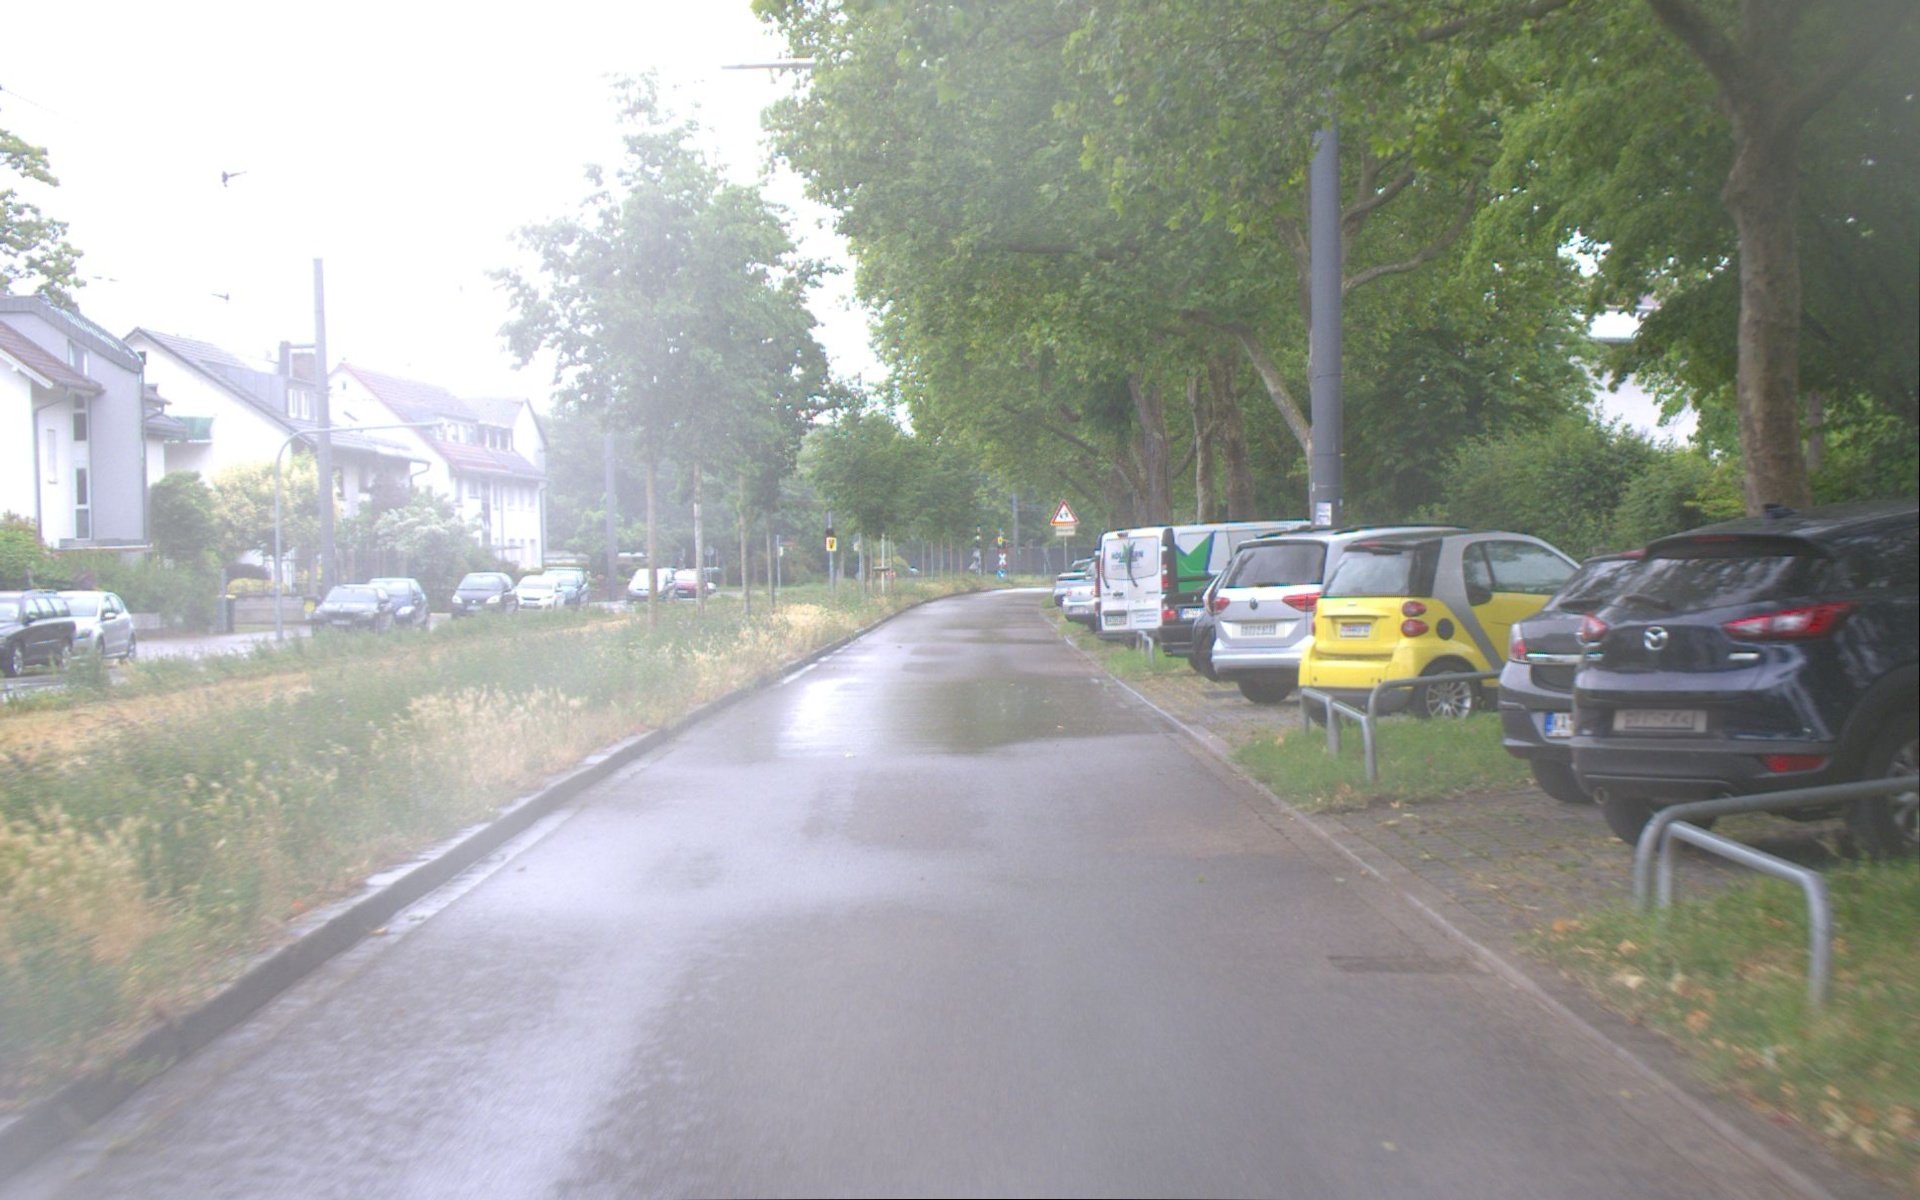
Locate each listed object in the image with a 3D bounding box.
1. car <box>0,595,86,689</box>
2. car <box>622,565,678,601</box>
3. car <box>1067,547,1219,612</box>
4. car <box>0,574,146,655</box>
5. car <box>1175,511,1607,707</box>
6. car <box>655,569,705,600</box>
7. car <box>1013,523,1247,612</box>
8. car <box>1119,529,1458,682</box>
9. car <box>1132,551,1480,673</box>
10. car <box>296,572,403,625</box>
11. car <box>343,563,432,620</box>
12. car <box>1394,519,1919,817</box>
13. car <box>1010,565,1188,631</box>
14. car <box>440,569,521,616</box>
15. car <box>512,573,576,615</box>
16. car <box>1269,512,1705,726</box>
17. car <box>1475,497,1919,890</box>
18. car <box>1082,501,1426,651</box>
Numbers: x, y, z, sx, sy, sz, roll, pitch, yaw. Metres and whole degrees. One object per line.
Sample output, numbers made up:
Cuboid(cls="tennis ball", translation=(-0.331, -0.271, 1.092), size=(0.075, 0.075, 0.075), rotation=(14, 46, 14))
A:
Cuboid(cls="car", translation=(-16.618, 0.688, 58.888), size=(1.993, 1.450, 4.531), rotation=(1, 1, 2))
Cuboid(cls="car", translation=(-14.196, -0.804, 157.766), size=(1.993, 1.575, 4.517), rotation=(1, 1, 2))
Cuboid(cls="car", translation=(4.842, -0.537, 90.799), size=(3.702, 1.561, 1.619), rotation=(-3, 1, -32))
Cuboid(cls="car", translation=(-16.738, 0.255, 64.499), size=(1.993, 1.406, 3.971), rotation=(1, 1, 0))
Cuboid(cls="car", translation=(4.161, 0.067, 32.915), size=(4.036, 1.635, 1.654), rotation=(-3, 0, -38))
Cuboid(cls="car", translation=(-13.971, -0.777, 171.515), size=(1.993, 1.483, 4.205), rotation=(1, 1, 2))
Cuboid(cls="car", translation=(3.583, -0.697, 72.045), size=(4.546, 1.539, 1.887), rotation=(-5, 2, -31))
Cuboid(cls="car", translation=(3.730, 0.060, 38.896), size=(3.394, 1.513, 1.849), rotation=(-3, 0, -37))
Cuboid(cls="car", translation=(4.310, 0.120, 42.461), size=(4.293, 1.379, 1.740), rotation=(-2, 1, -39))
Cuboid(cls="car", translation=(-16.461, -0.056, 92.860), size=(1.993, 1.346, 4.240), rotation=(1, 1, 2))
Cuboid(cls="car", translation=(-16.322, -0.260, 98.121), size=(1.874, 1.545, 3.870), rotation=(1, 1, 0))
Cuboid(cls="car", translation=(4.529, 0.305, 19.068), size=(4.051, 1.413, 1.742), rotation=(-3, 0, -36))
Cuboid(cls="car", translation=(3.960, -0.065, 97.277), size=(4.761, 1.662, 1.994), rotation=(-3, 1, -36))
Cuboid(cls="car", translation=(-16.094, -0.270, 115.498), size=(1.993, 1.511, 4.205), rotation=(1, 1, 2))
Cuboid(cls="car", translation=(-15.363, -0.221, 127.155), size=(1.796, 1.483, 3.597), rotation=(1, 1, 2))
Cuboid(cls="car", translation=(4.100, 0.140, 26.748), size=(2.895, 1.461, 1.604), rotation=(-3, 0, -28))
Cuboid(cls="car", translation=(4.457, 0.303, 15.491), size=(3.792, 1.527, 1.883), rotation=(-3, 2, -27))
Cuboid(cls="car", translation=(4.512, -0.388, 52.439), size=(5.014, 2.006, 2.000), rotation=(-4, 2, -34))
